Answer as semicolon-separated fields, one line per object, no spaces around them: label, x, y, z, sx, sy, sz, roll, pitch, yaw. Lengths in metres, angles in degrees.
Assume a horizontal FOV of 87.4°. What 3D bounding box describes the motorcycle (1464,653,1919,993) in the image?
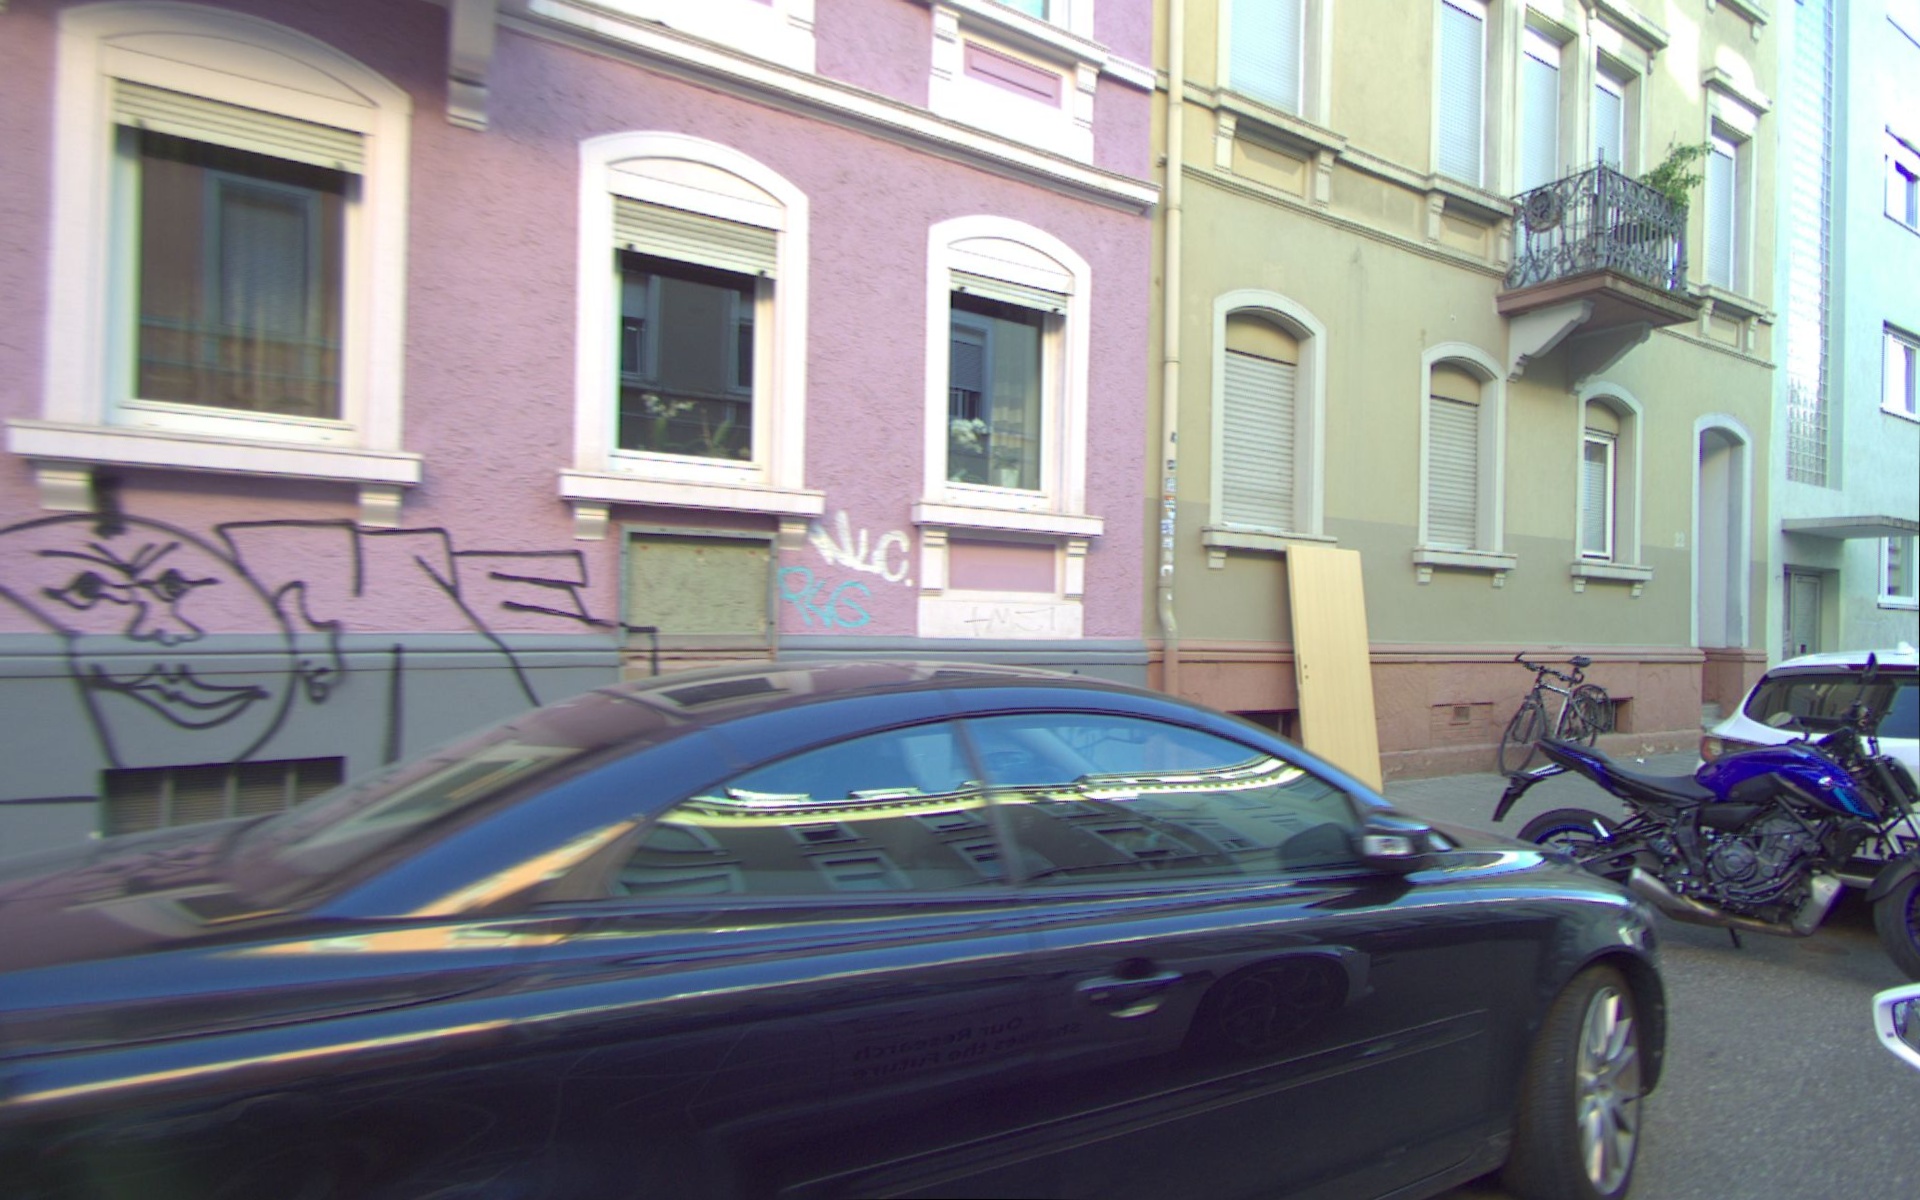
motorcycle;3.622;0.953;4.736;2.123;1.377;0.537;-4;-4;42

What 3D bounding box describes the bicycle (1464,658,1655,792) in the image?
bicycle;5.604;1.112;9.342;2.055;1.103;0.589;2;0;-31

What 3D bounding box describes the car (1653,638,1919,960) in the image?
car;5.974;0.982;5.875;4.119;1.460;1.663;2;-4;-32

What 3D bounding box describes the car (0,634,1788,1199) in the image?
car;0.114;0.827;2.623;4.301;1.402;1.703;0;-1;-29
